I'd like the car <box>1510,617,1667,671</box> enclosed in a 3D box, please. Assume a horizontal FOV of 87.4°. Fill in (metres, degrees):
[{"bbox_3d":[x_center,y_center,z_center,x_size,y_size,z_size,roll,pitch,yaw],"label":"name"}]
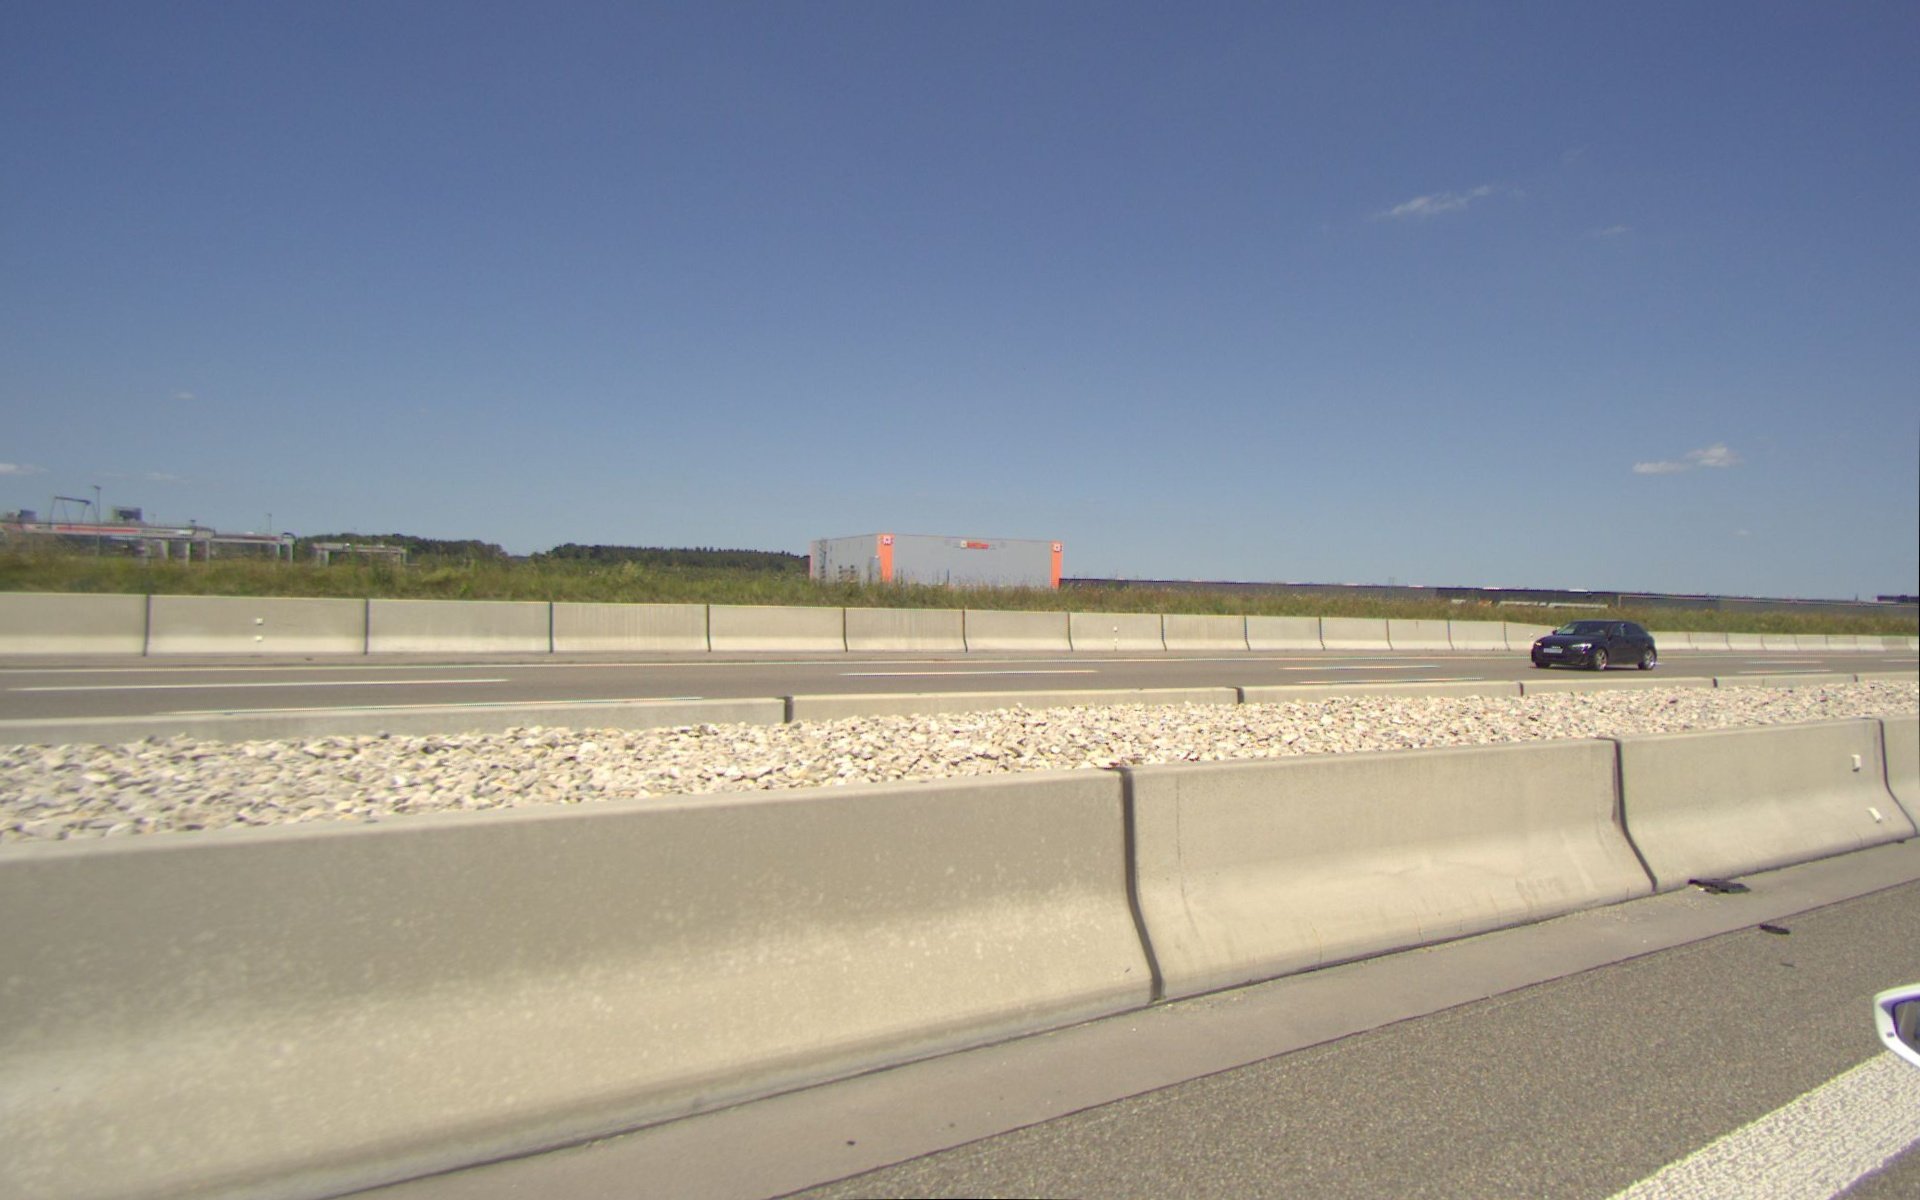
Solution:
[{"bbox_3d":[18.010,1.234,28.763,4.311,1.397,1.985,1,0,-29],"label":"car"}]
